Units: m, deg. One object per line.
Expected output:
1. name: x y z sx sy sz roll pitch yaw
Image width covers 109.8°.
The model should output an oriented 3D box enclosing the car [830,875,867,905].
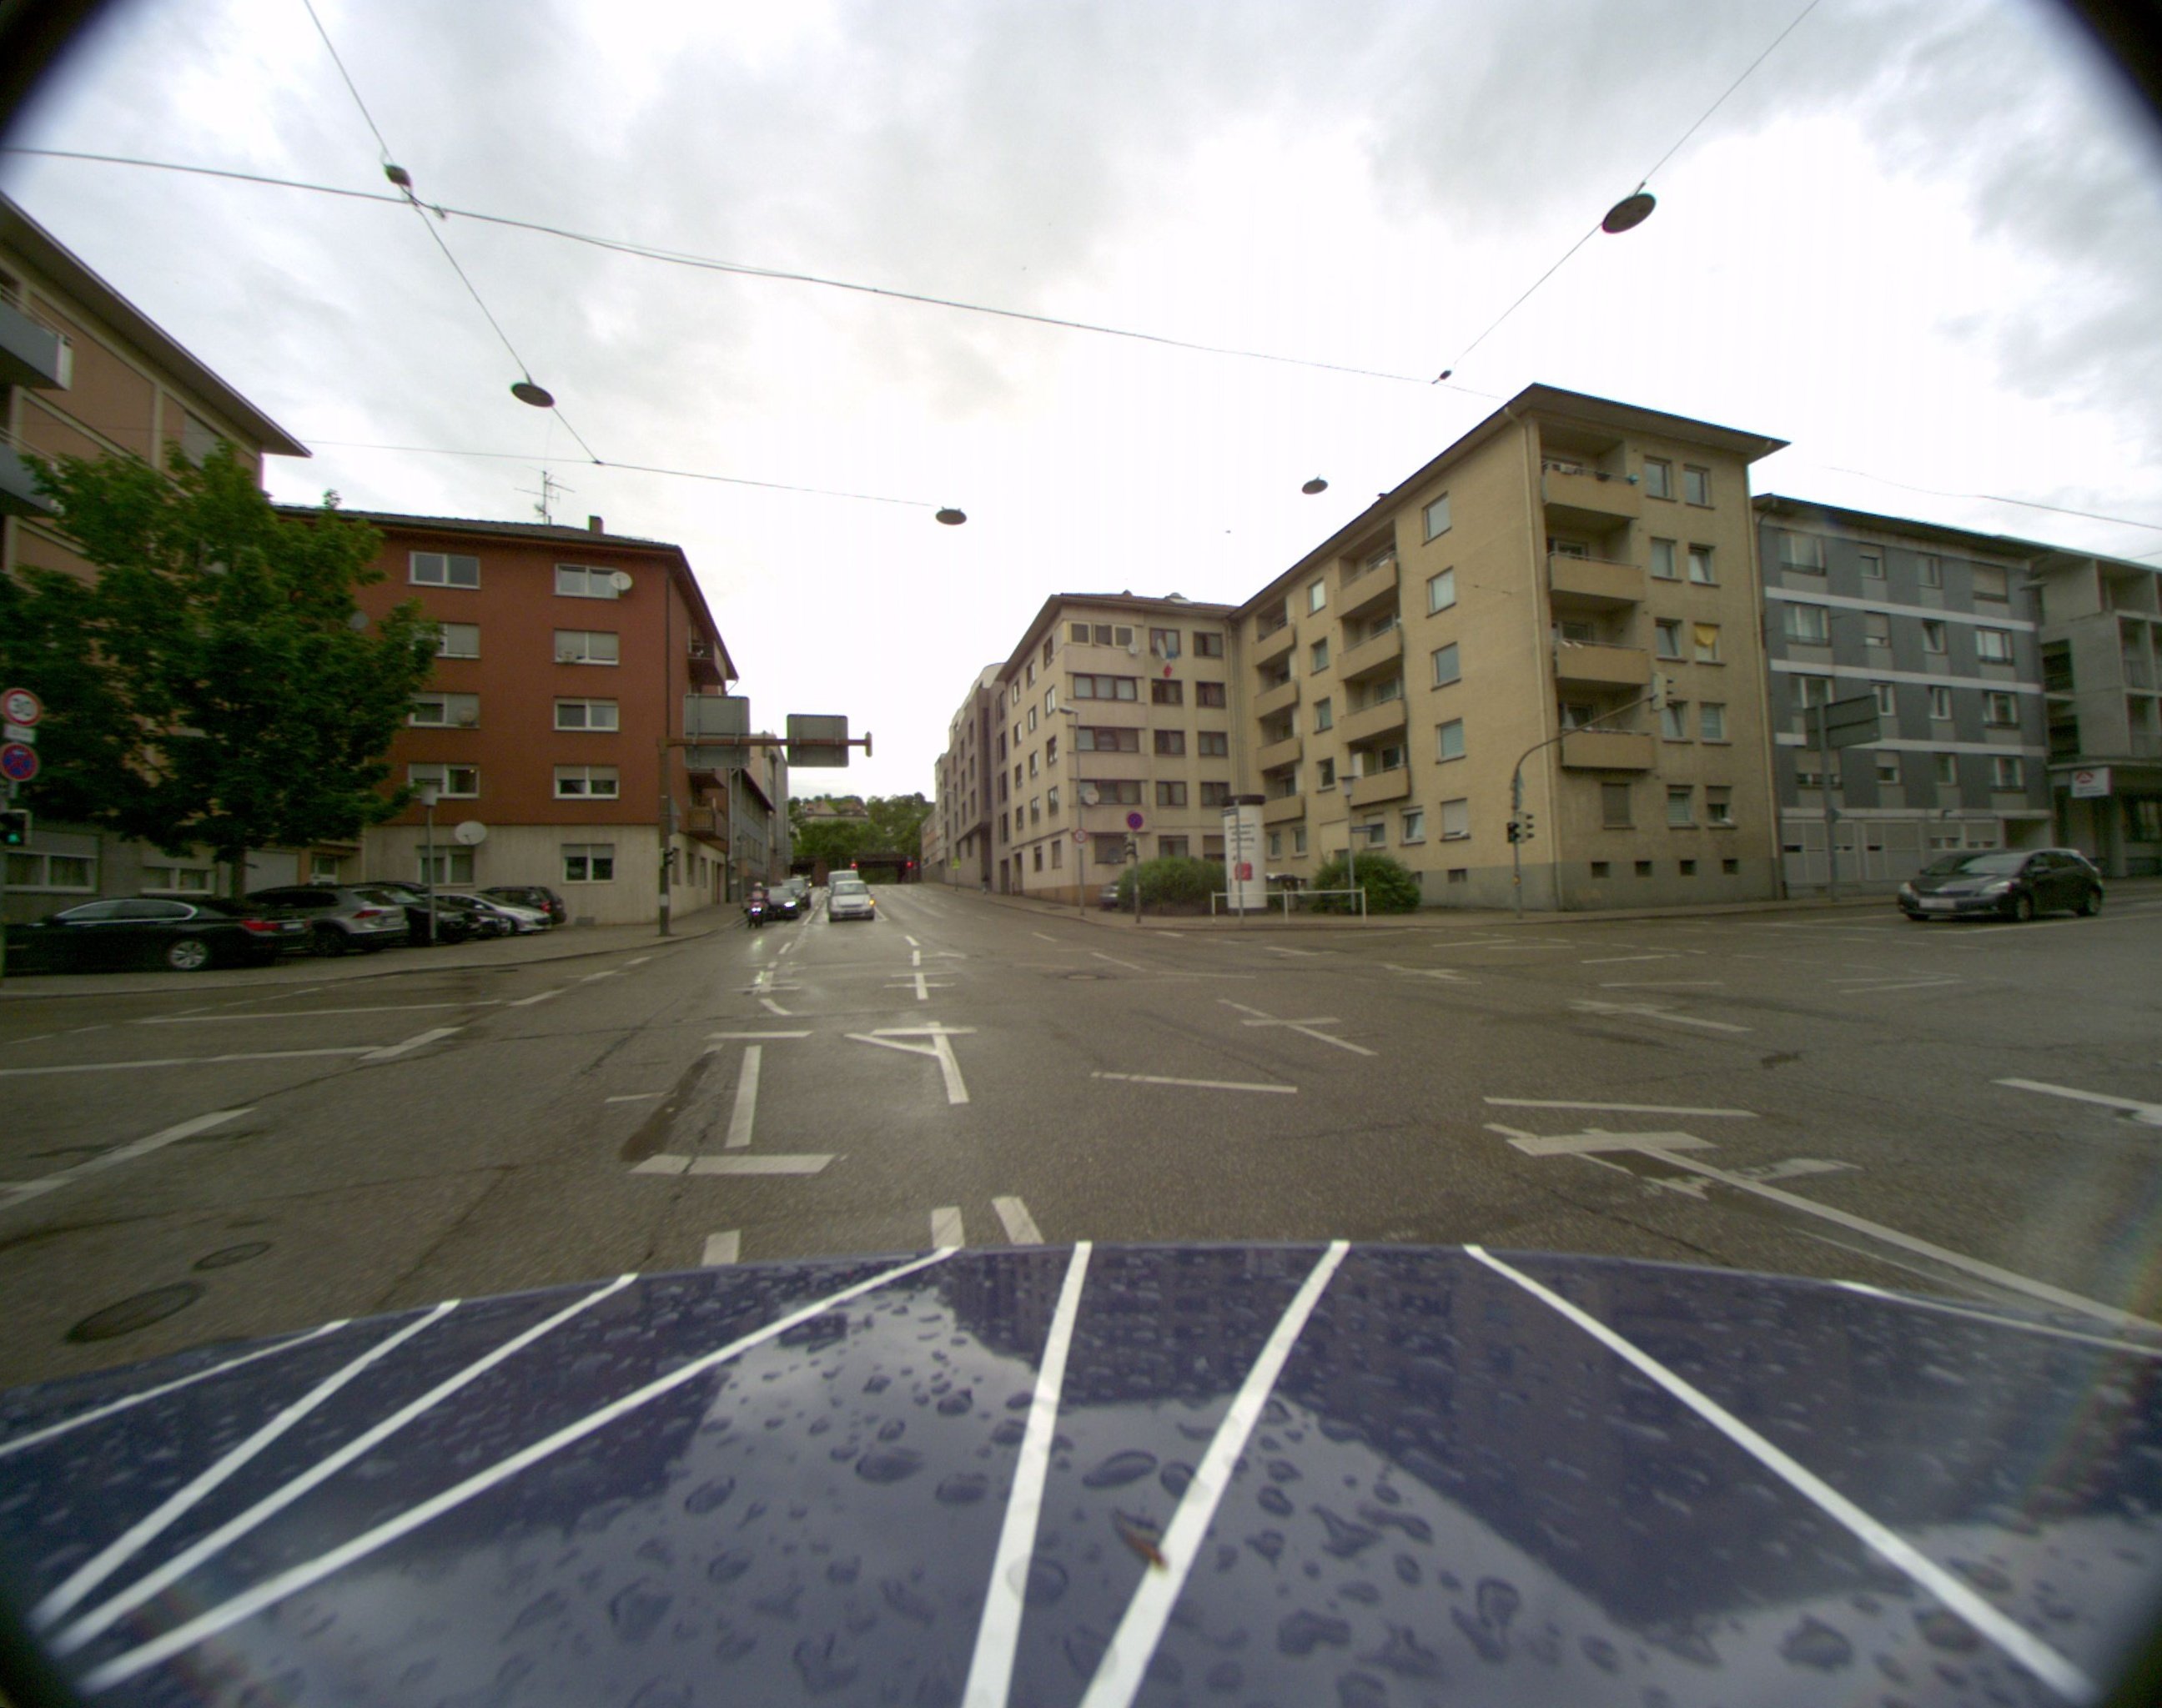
1. car: -13.169 2.014 43.143 1.851 1.545 3.995 -2 -1 -16

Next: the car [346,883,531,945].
1. car: -19.792 1.827 23.585 4.000 1.687 1.800 -2 -3 -10

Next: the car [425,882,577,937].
1. car: -21.446 2.033 28.236 3.998 1.695 2.000 -4 -3 -5

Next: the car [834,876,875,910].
1. car: -11.374 1.924 38.112 1.851 1.545 3.995 -2 -1 -17

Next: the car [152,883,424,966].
1. car: -18.651 1.600 18.121 4.002 1.650 1.991 -2 -1 -15

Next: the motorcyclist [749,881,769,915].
1. motorcyclist: -12.187 1.654 28.779 0.655 1.216 0.657 -2 0 -24

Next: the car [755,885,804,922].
1. car: -13.428 2.147 33.956 1.877 1.433 3.994 -2 -1 -21

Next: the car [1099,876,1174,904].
1. car: 2.690 1.751 36.948 3.265 1.185 1.381 -3 -2 -17

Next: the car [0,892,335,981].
1. car: -18.376 1.570 15.074 4.798 1.545 1.848 0 -2 -15

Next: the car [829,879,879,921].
1. car: -9.439 1.876 31.680 1.842 1.545 3.995 -2 -1 -16

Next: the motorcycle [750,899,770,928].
1. motorcycle: -12.266 2.234 29.010 0.638 0.921 2.360 -3 1 -24

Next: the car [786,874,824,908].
1. car: -15.677 2.126 43.285 1.796 1.716 3.997 -3 -3 -18

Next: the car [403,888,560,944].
1. car: -20.237 2.095 25.749 3.997 1.572 1.676 -4 -3 1

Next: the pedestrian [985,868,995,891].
1. pedestrian: -6.918 1.911 57.575 0.537 1.689 0.503 -3 -3 -22

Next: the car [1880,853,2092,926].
1. car: 20.844 0.794 17.521 4.075 1.471 1.731 -1 -3 -19

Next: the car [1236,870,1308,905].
1. car: 9.091 1.560 36.335 1.768 1.465 3.320 -3 0 -19

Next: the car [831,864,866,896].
1. car: -15.232 1.755 49.935 1.944 1.903 4.851 -3 -2 -15

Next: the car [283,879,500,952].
1. car: -18.885 1.640 20.987 3.999 1.709 1.992 -2 -1 -5
